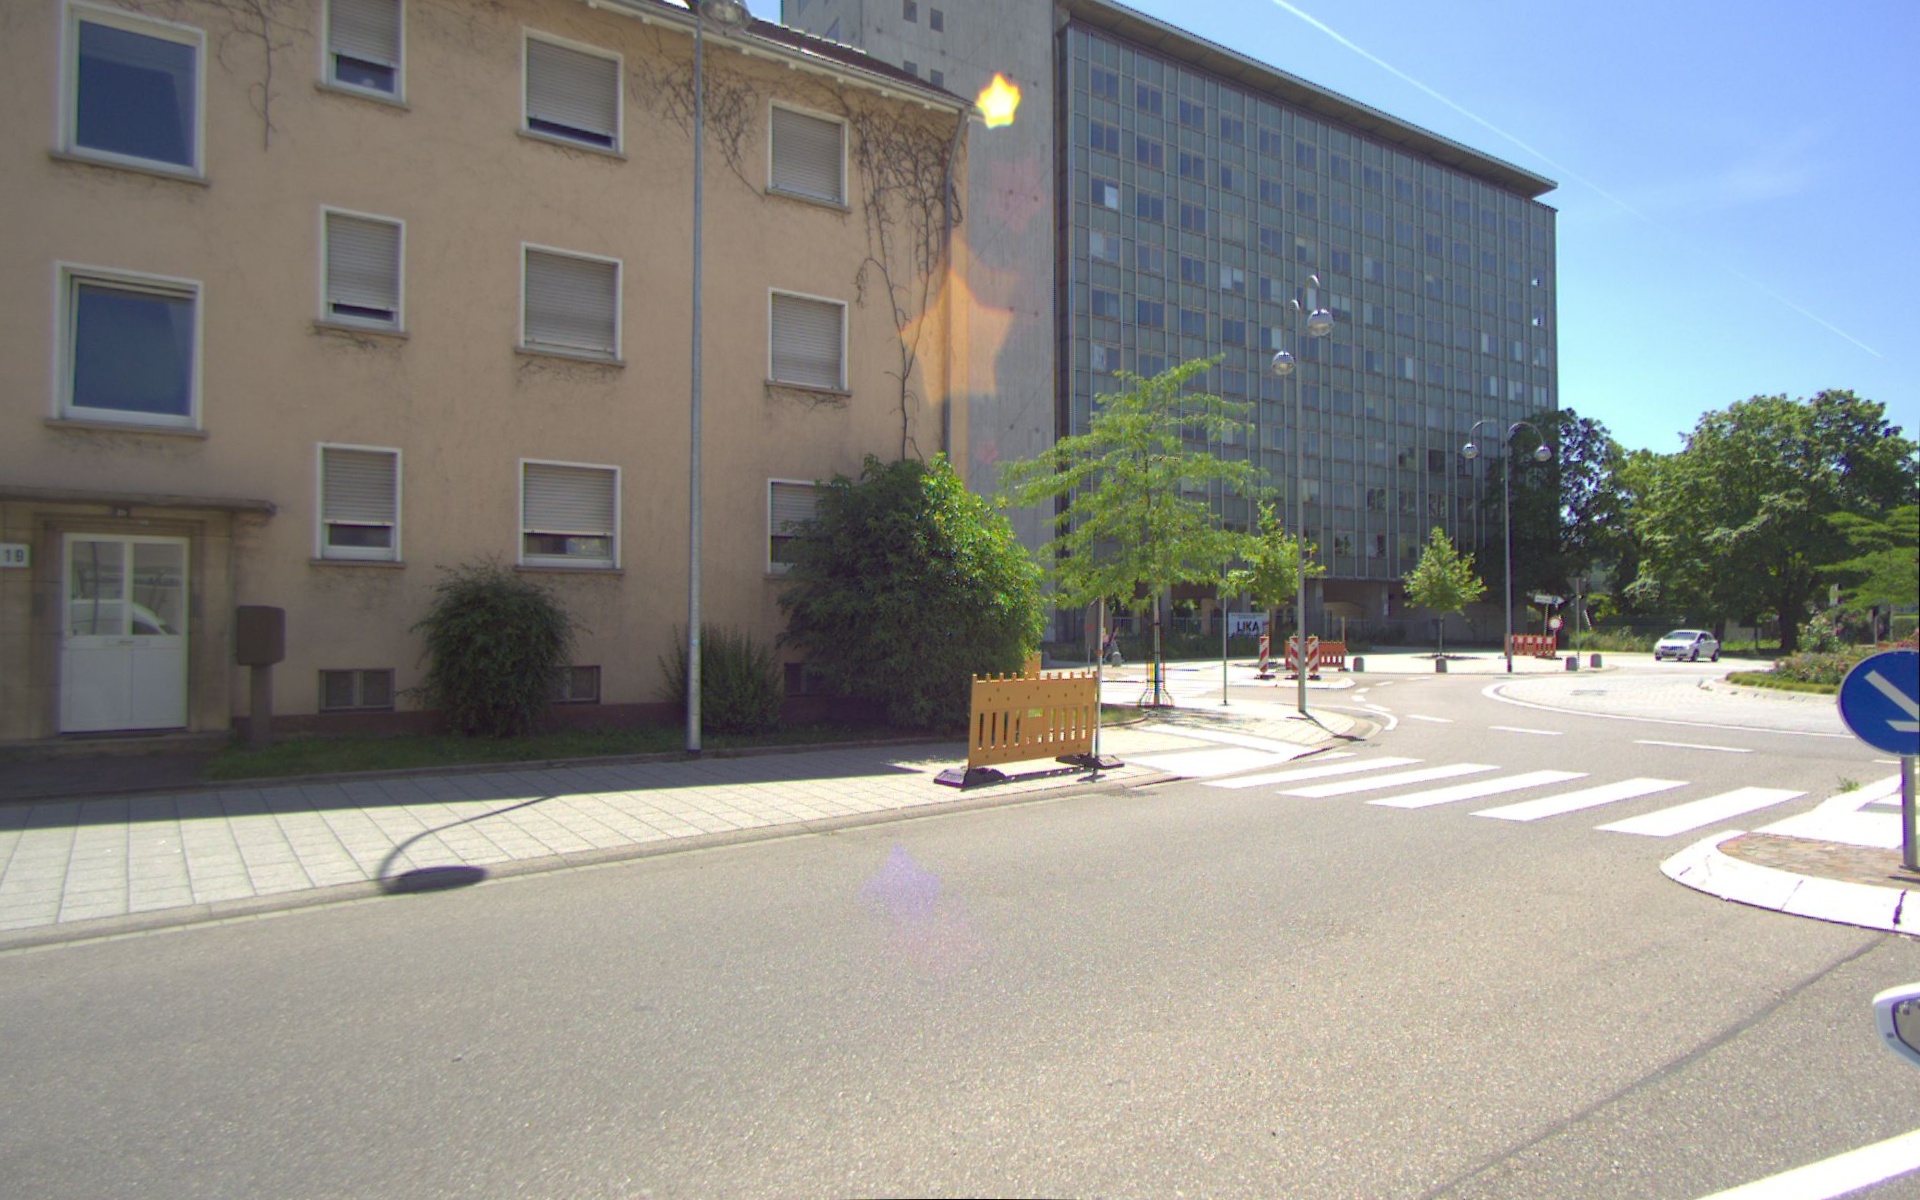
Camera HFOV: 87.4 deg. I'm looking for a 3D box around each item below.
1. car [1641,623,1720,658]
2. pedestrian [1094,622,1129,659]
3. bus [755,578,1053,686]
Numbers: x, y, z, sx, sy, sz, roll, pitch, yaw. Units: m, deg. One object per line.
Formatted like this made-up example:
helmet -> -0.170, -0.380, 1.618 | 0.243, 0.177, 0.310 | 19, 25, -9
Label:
car -> 34.993, 1.971, 48.788 | 3.877, 1.618, 1.776 | 3, -2, -31
pedestrian -> 6.566, 1.751, 43.528 | 1.259, 1.606, 0.947 | 1, -2, -11
bus -> -1.976, 1.007, 34.475 | 9.889, 3.369, 2.963 | 0, 0, 22
